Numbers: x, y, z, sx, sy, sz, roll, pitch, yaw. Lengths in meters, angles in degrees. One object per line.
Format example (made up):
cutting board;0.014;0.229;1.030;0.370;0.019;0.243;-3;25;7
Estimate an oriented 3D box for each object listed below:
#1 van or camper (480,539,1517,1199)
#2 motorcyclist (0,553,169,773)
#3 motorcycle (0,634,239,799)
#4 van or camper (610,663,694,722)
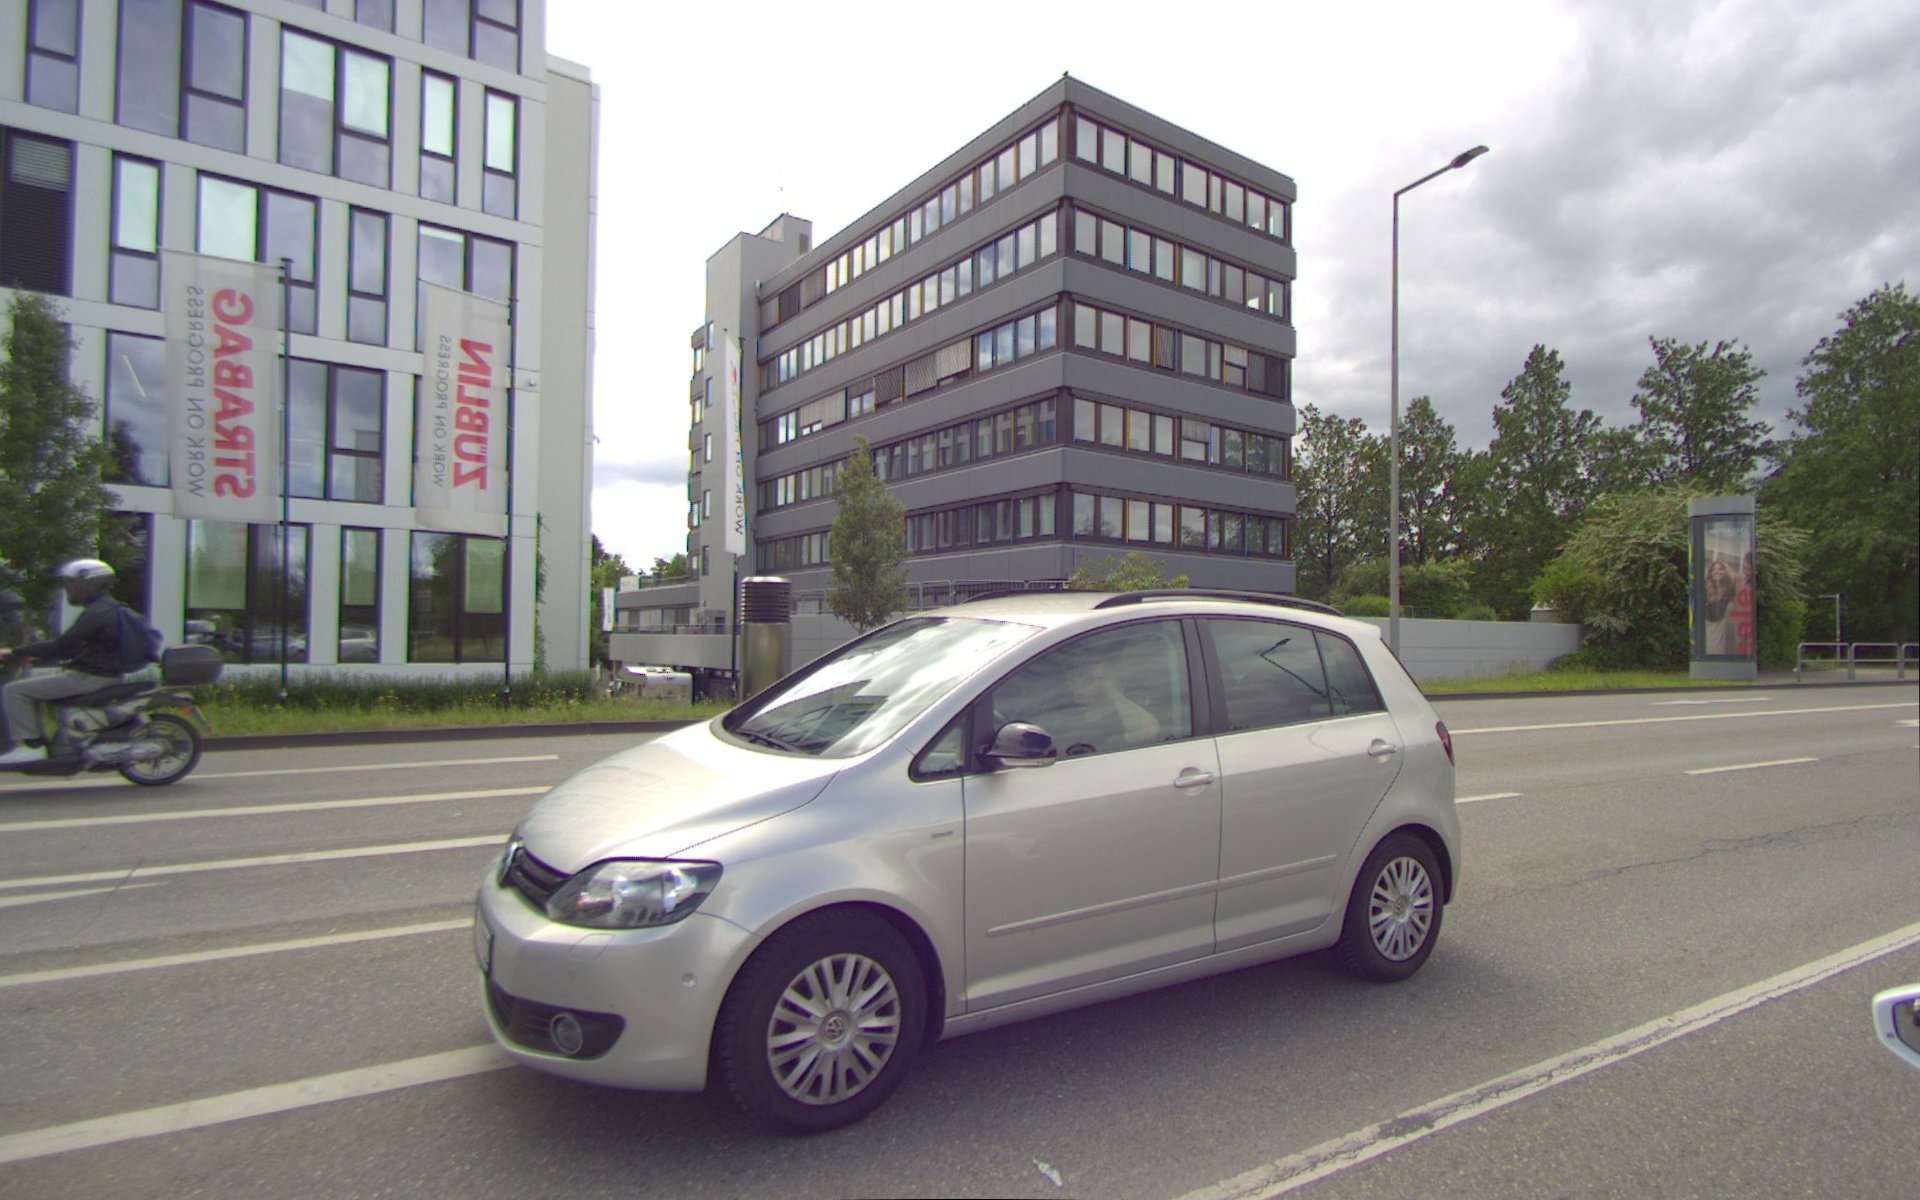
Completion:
van or camper;0.298;0.720;4.165;3.998;1.631;1.735;2;-1;-30
motorcyclist;-6.523;0.449;7.490;0.908;1.530;0.649;1;-1;-35
motorcycle;-6.560;0.826;7.465;1.915;1.128;0.649;2;-1;-35
van or camper;-15.944;4.662;51.679;2.434;2.398;7.065;2;-1;-31
